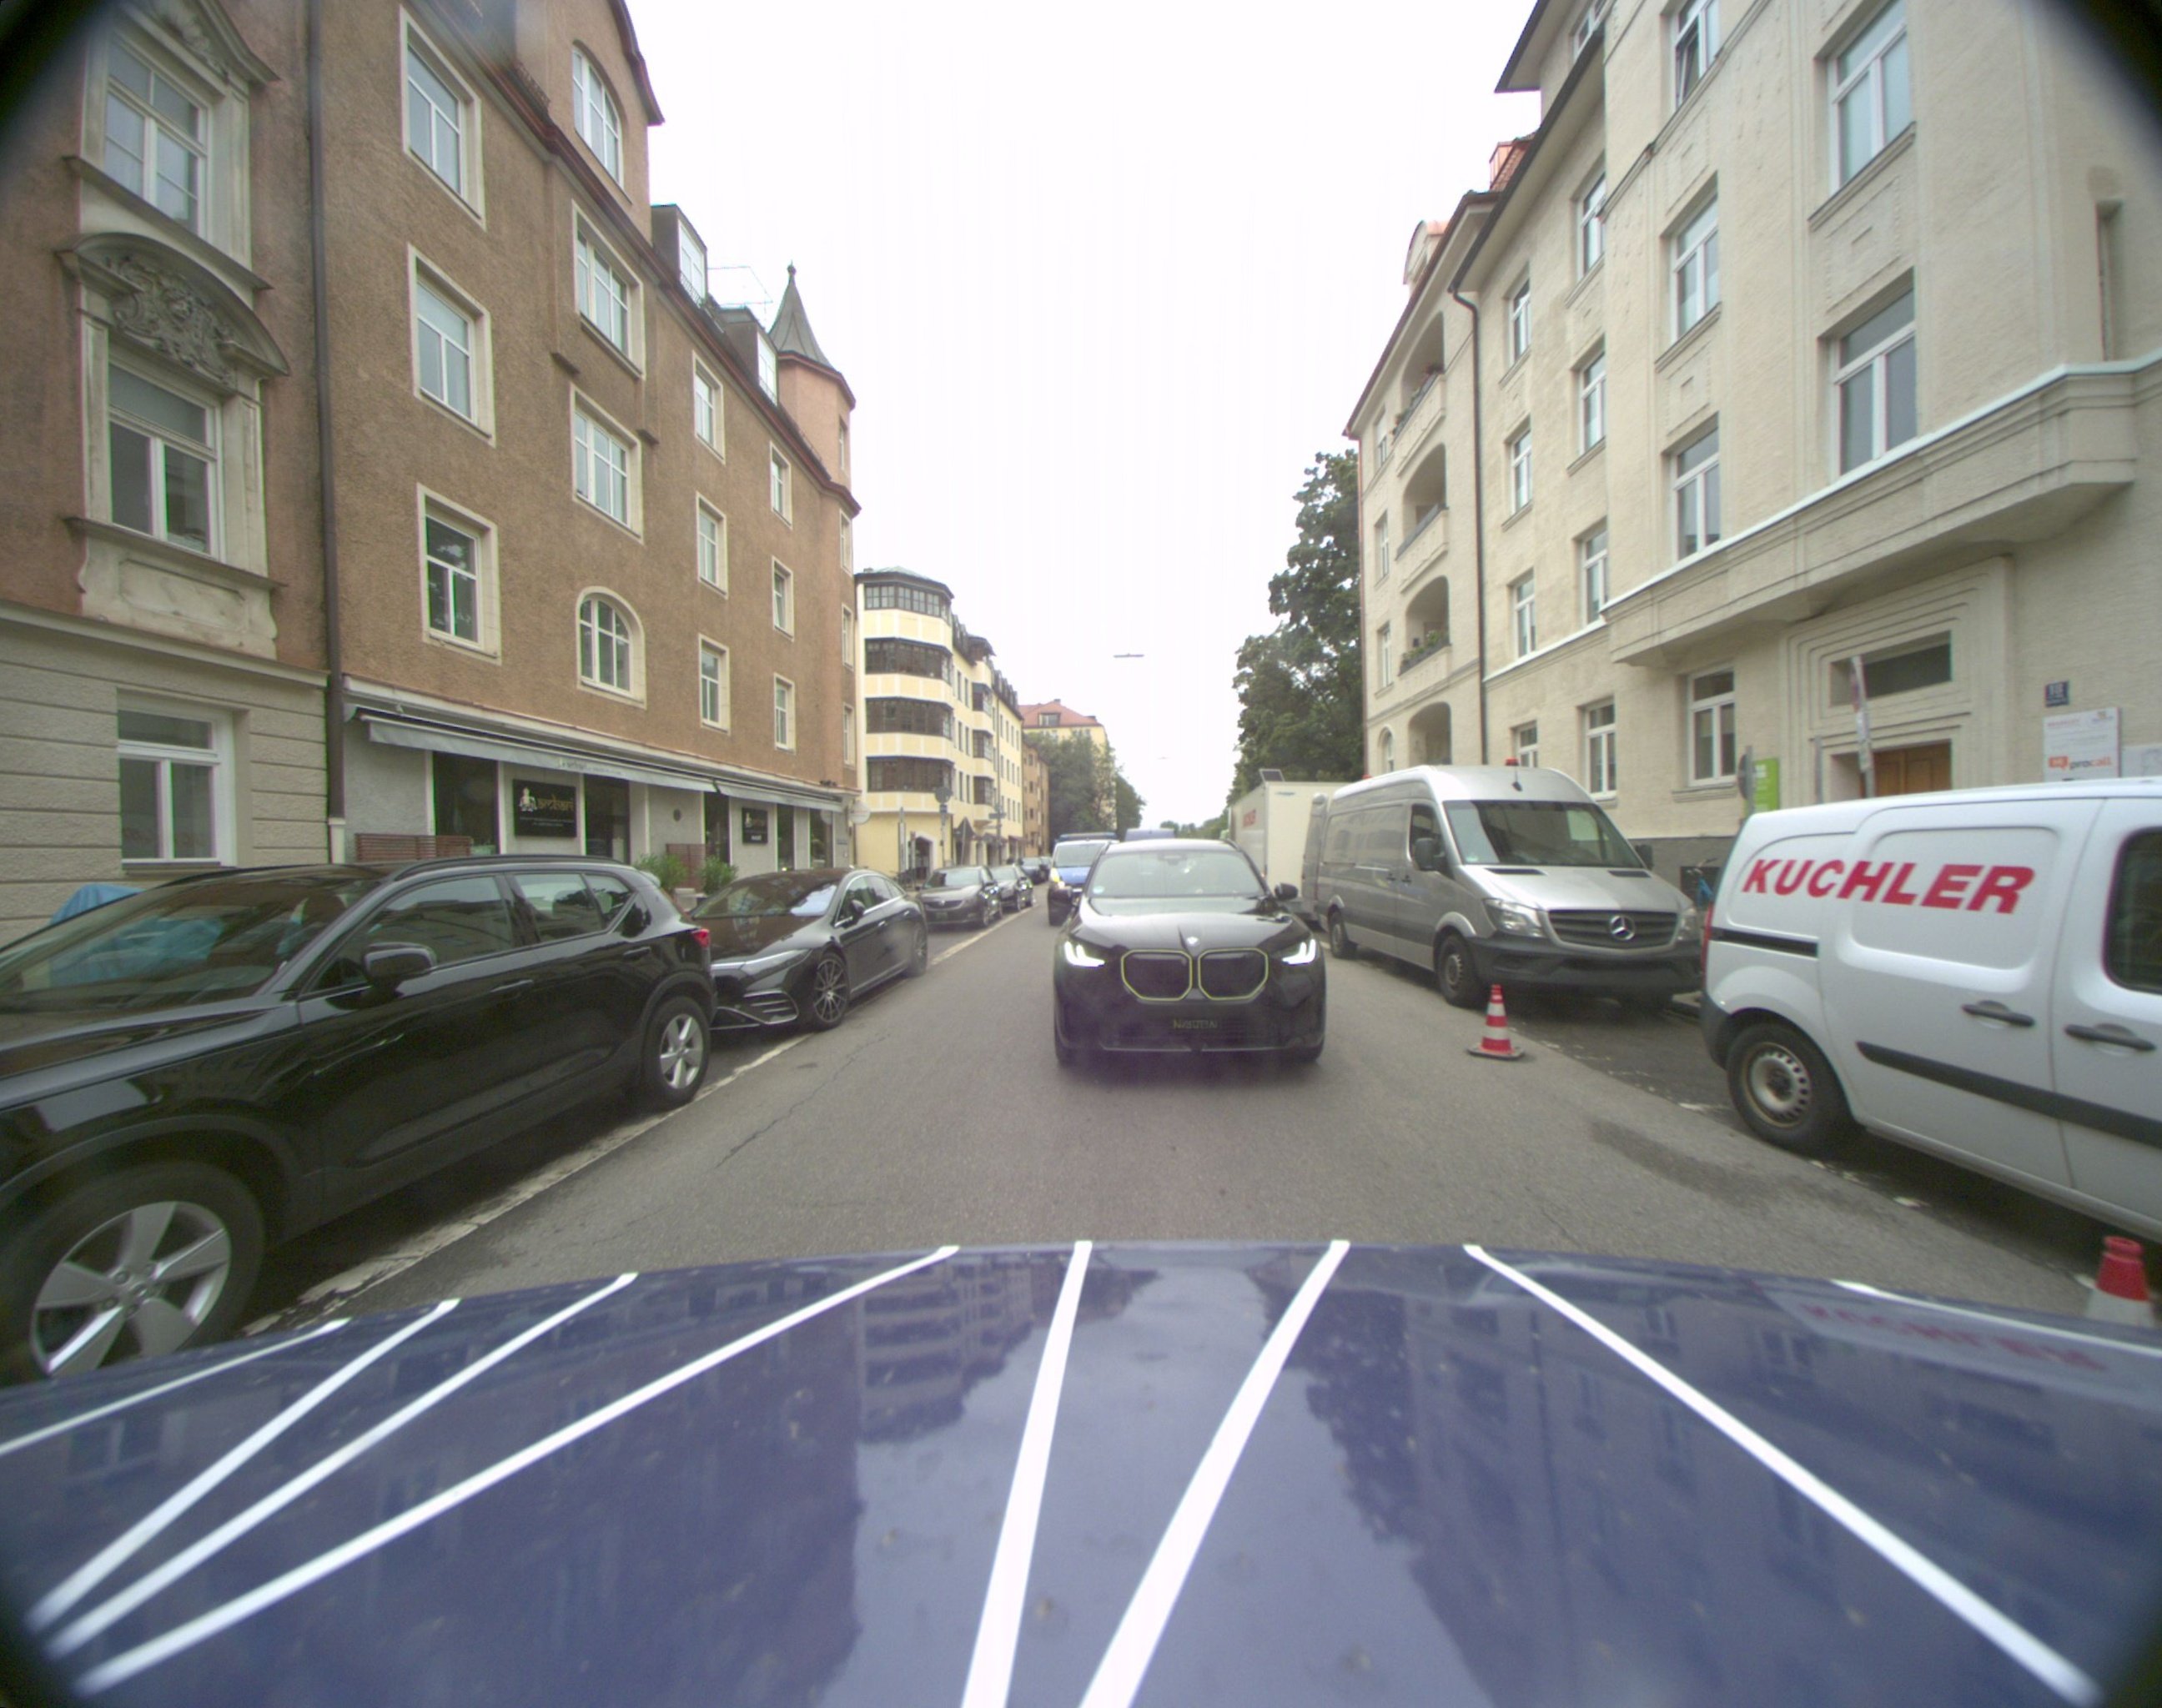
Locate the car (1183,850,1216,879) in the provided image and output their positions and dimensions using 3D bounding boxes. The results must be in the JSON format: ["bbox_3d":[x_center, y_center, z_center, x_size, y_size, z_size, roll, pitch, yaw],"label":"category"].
[{"bbox_3d":[7.242,0.594,46.725,1.816,1.580,4.166,3,1,7],"label":"car"}]

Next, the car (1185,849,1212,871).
[{"bbox_3d":[8.631,0.403,55.989,1.816,1.455,4.166,3,1,9],"label":"car"}]

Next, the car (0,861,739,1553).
[{"bbox_3d":[-3.530,0.972,3.329,1.697,1.667,4.408,-4,1,4],"label":"car"}]

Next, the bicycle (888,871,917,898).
[{"bbox_3d":[-6.849,1.161,29.165,0.496,0.999,1.804,1,-1,6],"label":"bicycle"}]

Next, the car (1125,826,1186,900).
[{"bbox_3d":[2.748,0.242,28.728,2.005,2.477,6.233,-1,1,4],"label":"car"}]

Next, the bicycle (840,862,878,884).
[{"bbox_3d":[-12.058,1.045,41.242,1.904,1.180,0.515,-1,1,4],"label":"bicycle"}]

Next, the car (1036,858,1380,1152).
[{"bbox_3d":[0.808,0.870,6.434,1.921,1.556,4.294,-1,1,2],"label":"car"}]

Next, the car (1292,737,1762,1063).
[{"bbox_3d":[4.594,0.359,9.672,2.060,2.572,6.877,3,0,3],"label":"car"}]

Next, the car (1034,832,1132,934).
[{"bbox_3d":[0.231,0.606,18.966,1.826,2.086,5.635,-3,0,6],"label":"car"}]

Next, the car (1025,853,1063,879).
[{"bbox_3d":[-2.514,0.778,52.389,1.816,1.580,4.165,3,1,7],"label":"car"}]

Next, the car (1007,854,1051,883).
[{"bbox_3d":[-3.150,0.859,47.178,2.111,1.613,4.497,-1,0,4],"label":"car"}]

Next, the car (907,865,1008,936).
[{"bbox_3d":[-2.835,1.023,18.302,1.576,1.386,4.182,-1,1,2],"label":"car"}]

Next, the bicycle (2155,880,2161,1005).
[{"bbox_3d":[9.622,0.781,5.808,0.429,1.098,1.736,-2,1,3],"label":"bicycle"}]

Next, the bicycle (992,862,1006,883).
[{"bbox_3d":[-4.654,1.038,43.207,0.430,1.152,2.053,0,1,5],"label":"bicycle"}]

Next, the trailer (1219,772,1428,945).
[{"bbox_3d":[4.945,0.099,17.162,2.809,2.951,7.603,2,0,5],"label":"trailer"}]

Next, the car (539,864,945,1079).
[{"bbox_3d":[-3.167,0.966,8.763,1.935,1.544,5.637,-2,0,2],"label":"car"}]

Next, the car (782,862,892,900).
[{"bbox_3d":[-10.084,1.102,31.607,3.881,1.479,1.893,-1,1,4],"label":"car"}]

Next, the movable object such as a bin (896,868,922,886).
[{"bbox_3d":[-8.927,1.213,39.394,1.125,0.895,0.684,-1,1,4],"label":"movable object such as a bin"}]

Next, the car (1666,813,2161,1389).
[{"bbox_3d":[4.204,0.766,2.264,1.767,1.768,4.327,1,0,4],"label":"car"}]

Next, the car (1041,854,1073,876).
[{"bbox_3d":[-1.758,0.787,57.464,1.763,1.514,3.934,1,1,8],"label":"car"}]

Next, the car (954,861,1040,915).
[{"bbox_3d":[-2.500,0.986,23.752,1.851,1.397,4.789,-1,0,3],"label":"car"}]

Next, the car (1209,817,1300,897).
[{"bbox_3d":[6.207,0.103,28.049,2.146,2.557,6.796,-1,0,4],"label":"car"}]

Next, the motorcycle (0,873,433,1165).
[{"bbox_3d":[-5.707,0.920,5.087,0.873,1.496,1.998,-1,0,5],"label":"motorcycle"}]

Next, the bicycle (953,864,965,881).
[{"bbox_3d":[-7.293,1.093,45.488,0.262,0.897,1.696,4,1,6],"label":"bicycle"}]

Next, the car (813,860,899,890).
[{"bbox_3d":[-11.152,1.055,37.787,3.741,1.431,1.753,-1,-2,7],"label":"car"}]
